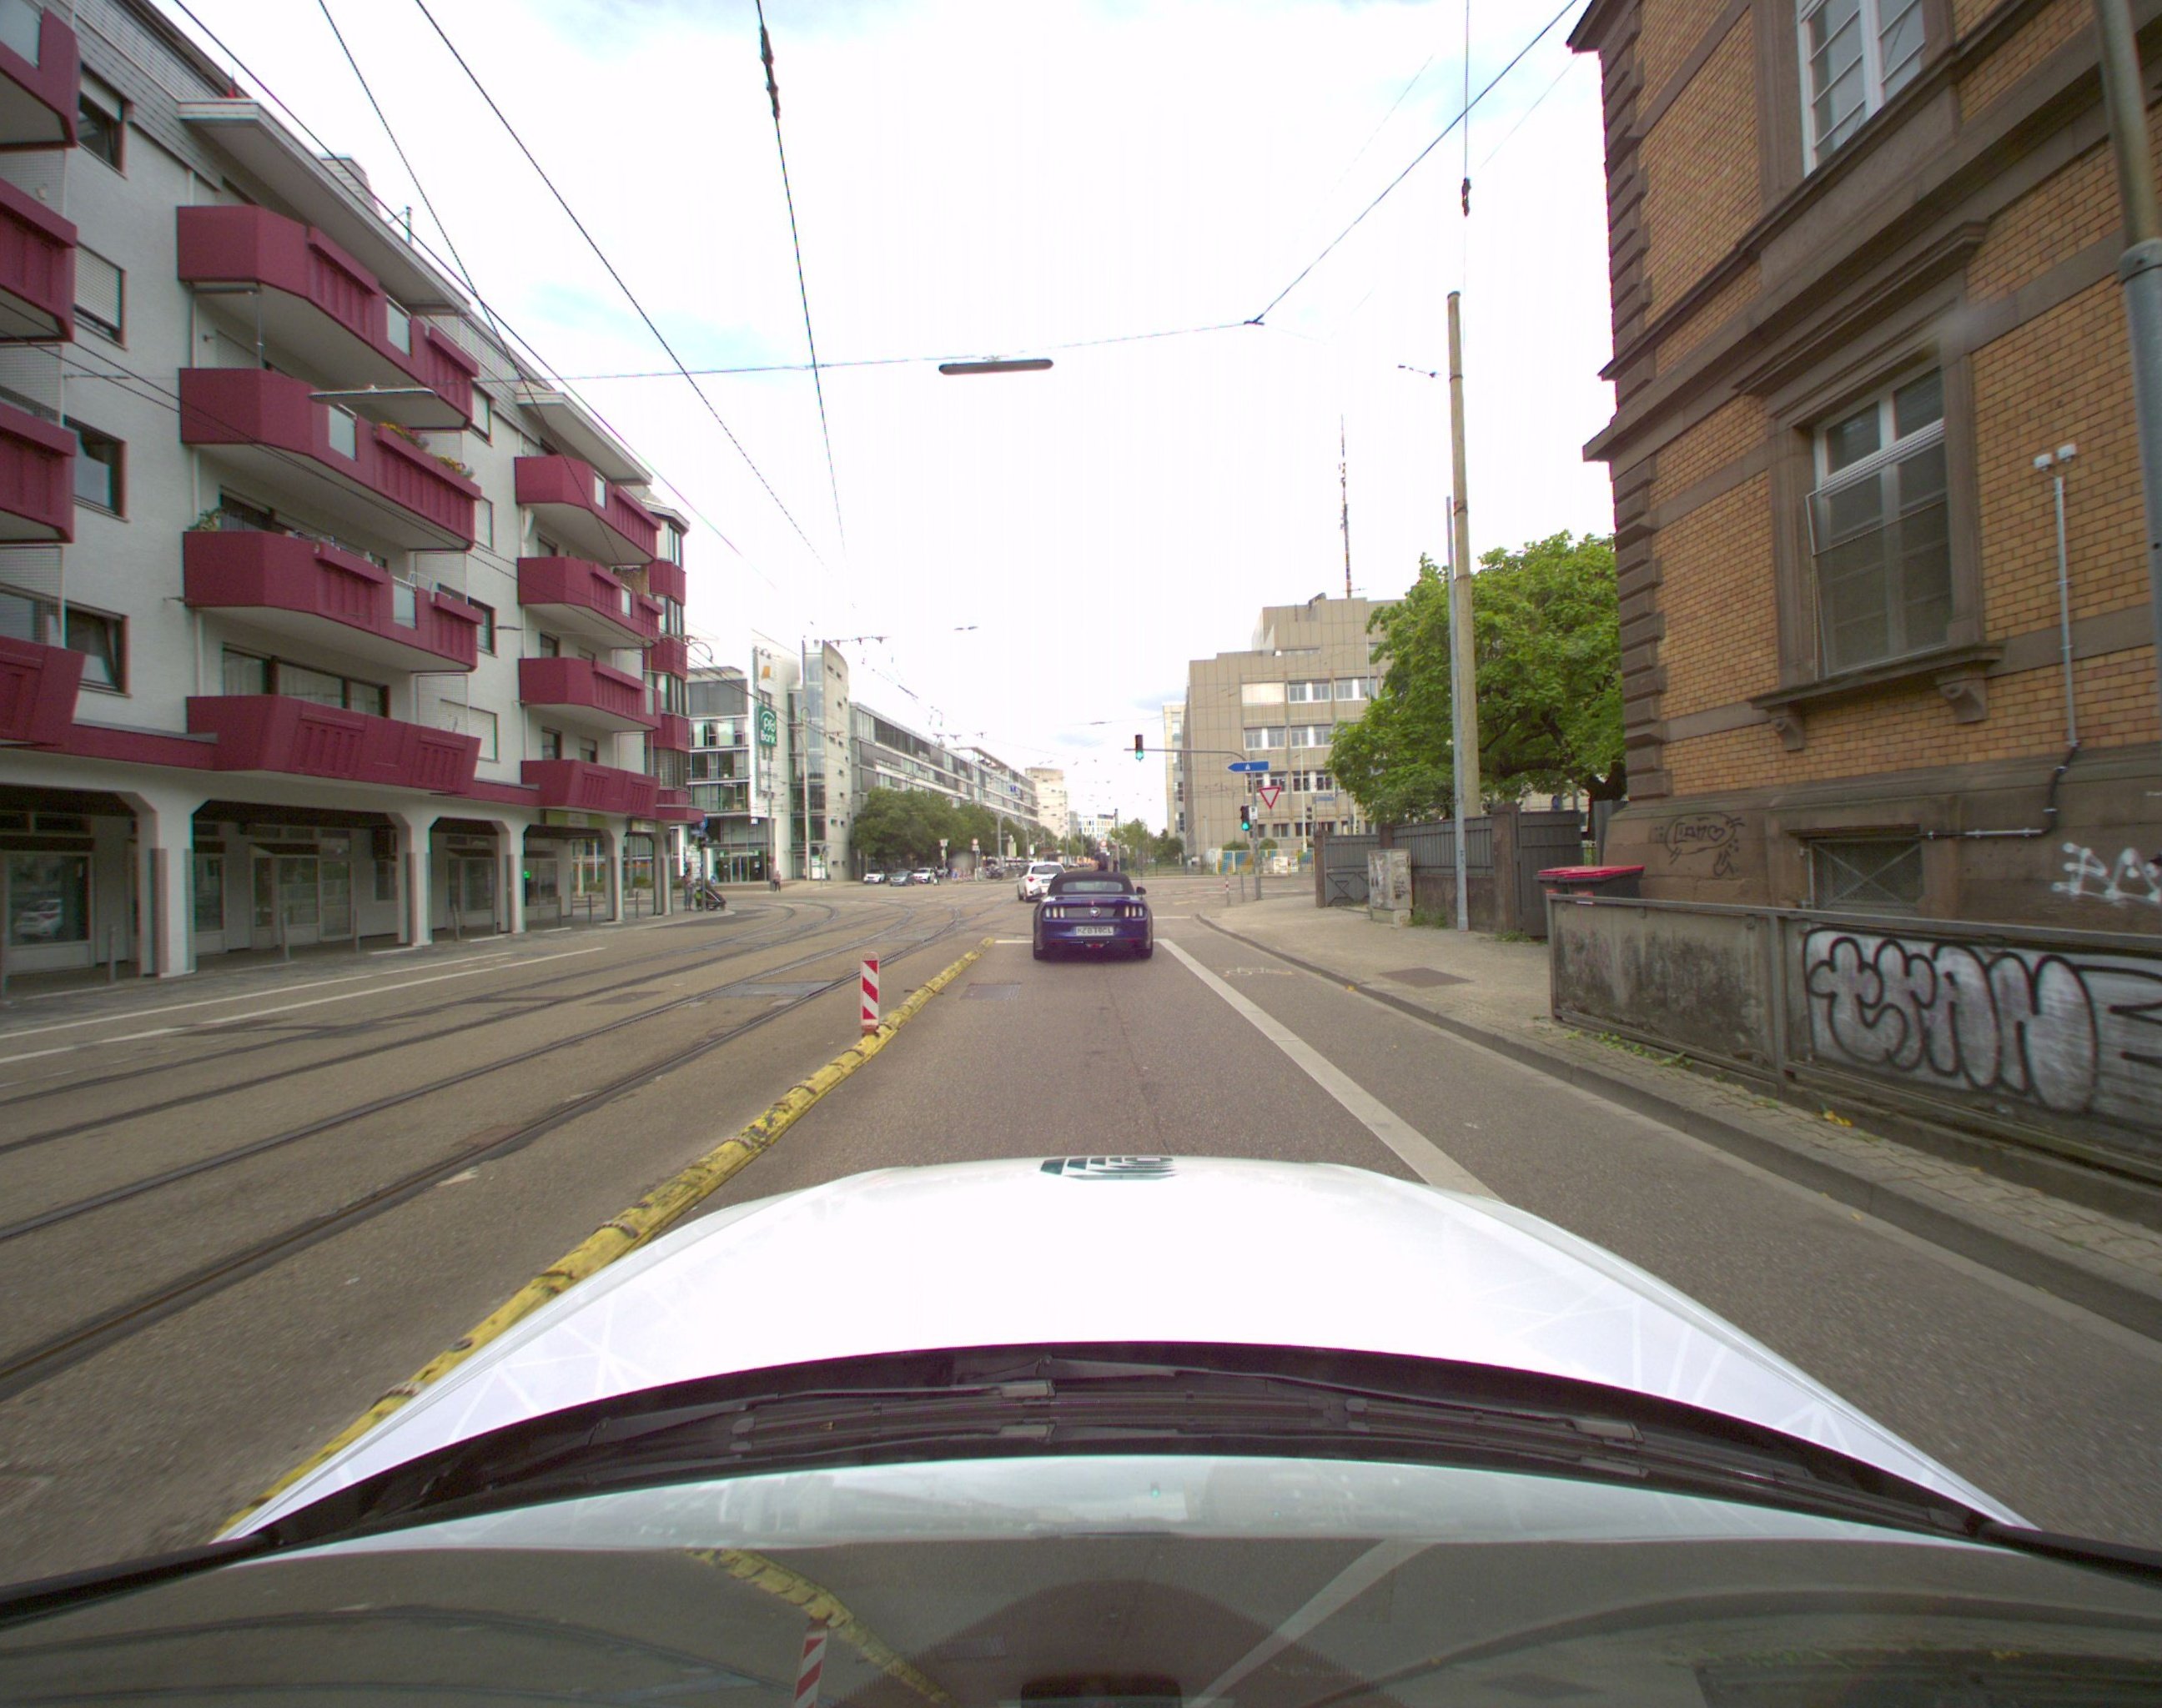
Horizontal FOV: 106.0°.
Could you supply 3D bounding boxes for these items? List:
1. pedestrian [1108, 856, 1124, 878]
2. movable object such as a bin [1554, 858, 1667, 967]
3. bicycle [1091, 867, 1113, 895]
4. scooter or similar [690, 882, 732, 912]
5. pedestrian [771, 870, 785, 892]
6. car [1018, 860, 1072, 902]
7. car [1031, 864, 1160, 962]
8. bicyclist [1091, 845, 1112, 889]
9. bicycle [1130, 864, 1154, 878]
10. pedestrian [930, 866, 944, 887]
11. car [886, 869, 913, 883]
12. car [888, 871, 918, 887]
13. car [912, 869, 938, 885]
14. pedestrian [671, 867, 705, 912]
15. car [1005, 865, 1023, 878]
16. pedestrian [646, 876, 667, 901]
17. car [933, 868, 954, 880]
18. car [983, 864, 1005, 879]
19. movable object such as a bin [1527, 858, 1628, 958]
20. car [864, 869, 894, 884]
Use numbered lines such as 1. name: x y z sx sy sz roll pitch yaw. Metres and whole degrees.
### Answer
1. pedestrian: 3.029 1.104 70.056 1.076 1.898 0.907 -3 -1 24
2. movable object such as a bin: 5.779 0.618 8.921 0.662 1.082 0.700 -6 -1 -4
3. bicycle: 0.867 1.124 34.168 0.798 1.086 2.131 -2 -1 0
4. scooter or similar: -14.800 1.706 32.598 1.192 1.128 0.946 -1 -1 -1
5. pedestrian: -25.930 2.320 69.716 0.828 1.865 0.769 -3 -1 13
6. car: -1.458 1.010 31.640 1.833 1.439 4.179 -2 -1 -6
7. car: 0.190 0.888 14.087 1.870 1.404 4.280 -1 -1 -1
8. bicyclist: 0.856 0.535 34.213 0.794 1.785 1.232 -2 -1 -1
9. bicycle: 5.212 1.469 69.925 0.637 0.981 2.133 -1 -4 -40
10. pedestrian: -13.109 2.031 74.257 0.984 1.855 0.903 -2 -1 4
11. car: -21.215 2.606 95.380 1.821 1.557 4.223 0 -1 5
12. car: -17.523 2.430 80.427 1.659 1.506 4.241 0 -1 5
13. car: -16.815 2.417 87.866 1.706 1.660 4.139 0 -1 5
14. pedestrian: -15.703 1.407 32.543 0.945 1.743 0.811 -2 -1 -3
15. car: -8.921 2.360 108.122 1.861 1.606 4.214 -2 -1 1
16. pedestrian: -29.110 2.345 55.848 0.928 1.671 0.769 -3 -1 13
17. car: -19.251 2.757 113.851 1.978 1.557 4.515 0 -1 3
18. car: -10.097 2.055 94.605 1.872 1.628 4.088 -2 -1 1
19. movable object such as a bin: 5.855 0.621 9.636 0.649 1.082 0.677 -6 -1 -4
20. car: -21.914 2.384 88.433 1.821 1.557 4.223 0 -1 5
